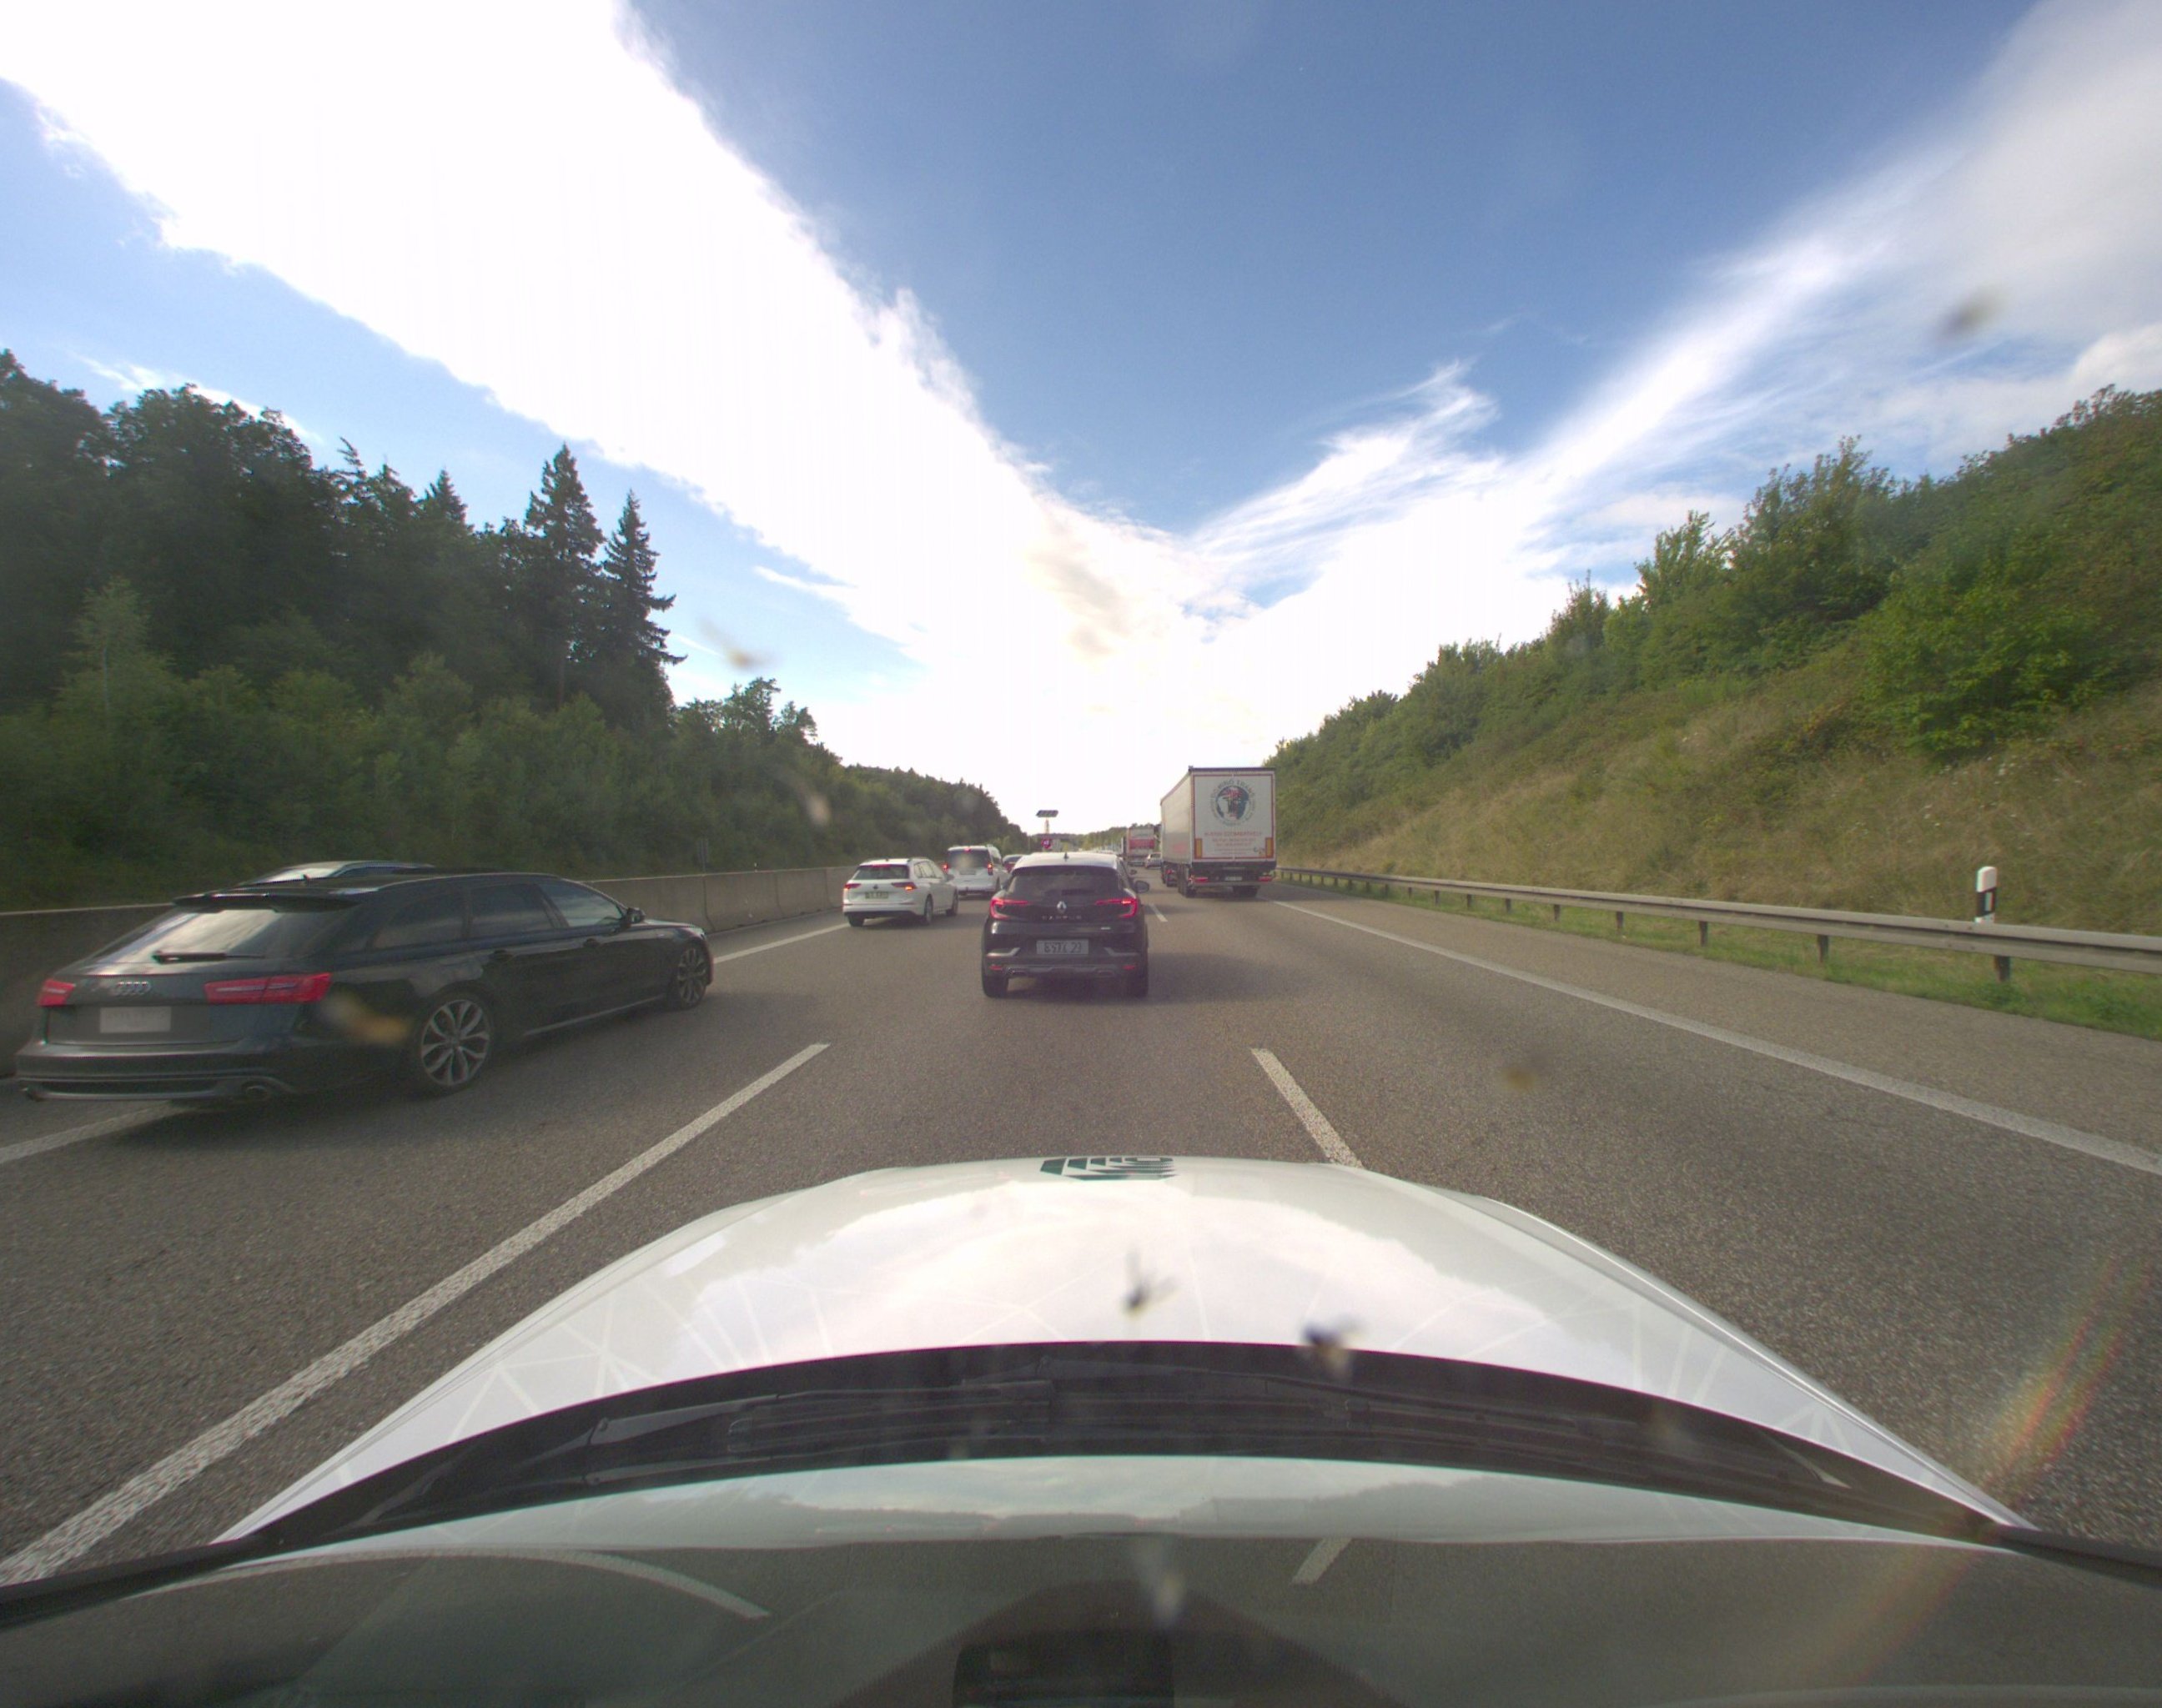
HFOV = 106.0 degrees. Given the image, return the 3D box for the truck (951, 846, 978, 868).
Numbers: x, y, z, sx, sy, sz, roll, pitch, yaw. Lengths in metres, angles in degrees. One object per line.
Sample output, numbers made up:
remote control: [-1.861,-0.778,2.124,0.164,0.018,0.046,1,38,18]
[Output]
truck: [-15.378,0.390,107.496,2.413,2.855,6.433,-1,0,2]

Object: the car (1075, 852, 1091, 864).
car: [0.263,0.578,114.153,1.985,1.613,4.003,-1,0,3]

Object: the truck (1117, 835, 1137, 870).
truck: [7.753,-0.227,137.060,3.153,5.505,12.747,-1,0,3]

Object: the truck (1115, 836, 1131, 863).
truck: [9.384,-0.914,179.094,3.152,5.505,12.752,-1,0,4]

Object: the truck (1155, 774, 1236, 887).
truck: [5.037,-0.996,36.845,2.985,4.667,5.942,-1,0,2]

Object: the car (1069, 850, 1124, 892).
car: [0.657,0.633,31.540,1.985,1.514,4.003,-1,0,3]

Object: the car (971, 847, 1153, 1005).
car: [-0.028,0.729,10.128,1.796,1.552,4.005,-1,0,5]

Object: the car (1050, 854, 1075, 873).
car: [-1.627,0.849,73.336,1.985,1.613,4.003,-1,0,3]

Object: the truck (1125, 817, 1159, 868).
truck: [6.513,-1.118,88.116,3.351,5.044,12.747,-1,0,3]

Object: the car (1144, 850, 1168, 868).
car: [6.571,0.448,71.789,1.798,1.533,3.926,0,0,1]

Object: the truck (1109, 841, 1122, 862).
truck: [9.050,-0.572,212.066,3.153,5.159,12.747,-1,0,3]

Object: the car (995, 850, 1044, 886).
car: [-2.920,0.652,39.300,1.848,1.641,3.929,-1,0,3]

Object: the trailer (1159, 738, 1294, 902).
trailer: [4.803,-0.980,29.963,2.990,4.661,13.296,-1,0,2]

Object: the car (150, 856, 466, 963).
car: [-15.159,0.972,16.434,1.845,1.810,4.627,-1,0,2]

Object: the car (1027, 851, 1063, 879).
car: [-2.338,0.720,53.622,1.985,1.722,4.003,-1,0,3]

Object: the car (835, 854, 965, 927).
car: [-4.009,0.764,18.796,1.797,1.461,4.312,-1,0,3]

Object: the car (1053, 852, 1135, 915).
car: [0.411,0.740,21.831,1.985,1.514,4.003,-1,0,3]

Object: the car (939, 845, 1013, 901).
car: [-3.579,0.620,28.615,1.905,1.789,4.418,0,0,1]

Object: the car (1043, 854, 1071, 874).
car: [-1.906,0.800,65.803,1.985,1.613,4.003,-1,0,3]

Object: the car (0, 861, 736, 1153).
car: [-4.829,0.820,6.615,1.835,1.456,4.751,-1,0,3]

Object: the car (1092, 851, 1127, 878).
car: [1.712,0.634,48.691,1.985,1.514,4.003,-1,0,3]

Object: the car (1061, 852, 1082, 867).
car: [-0.963,0.569,87.981,1.985,1.613,4.003,-1,0,3]
